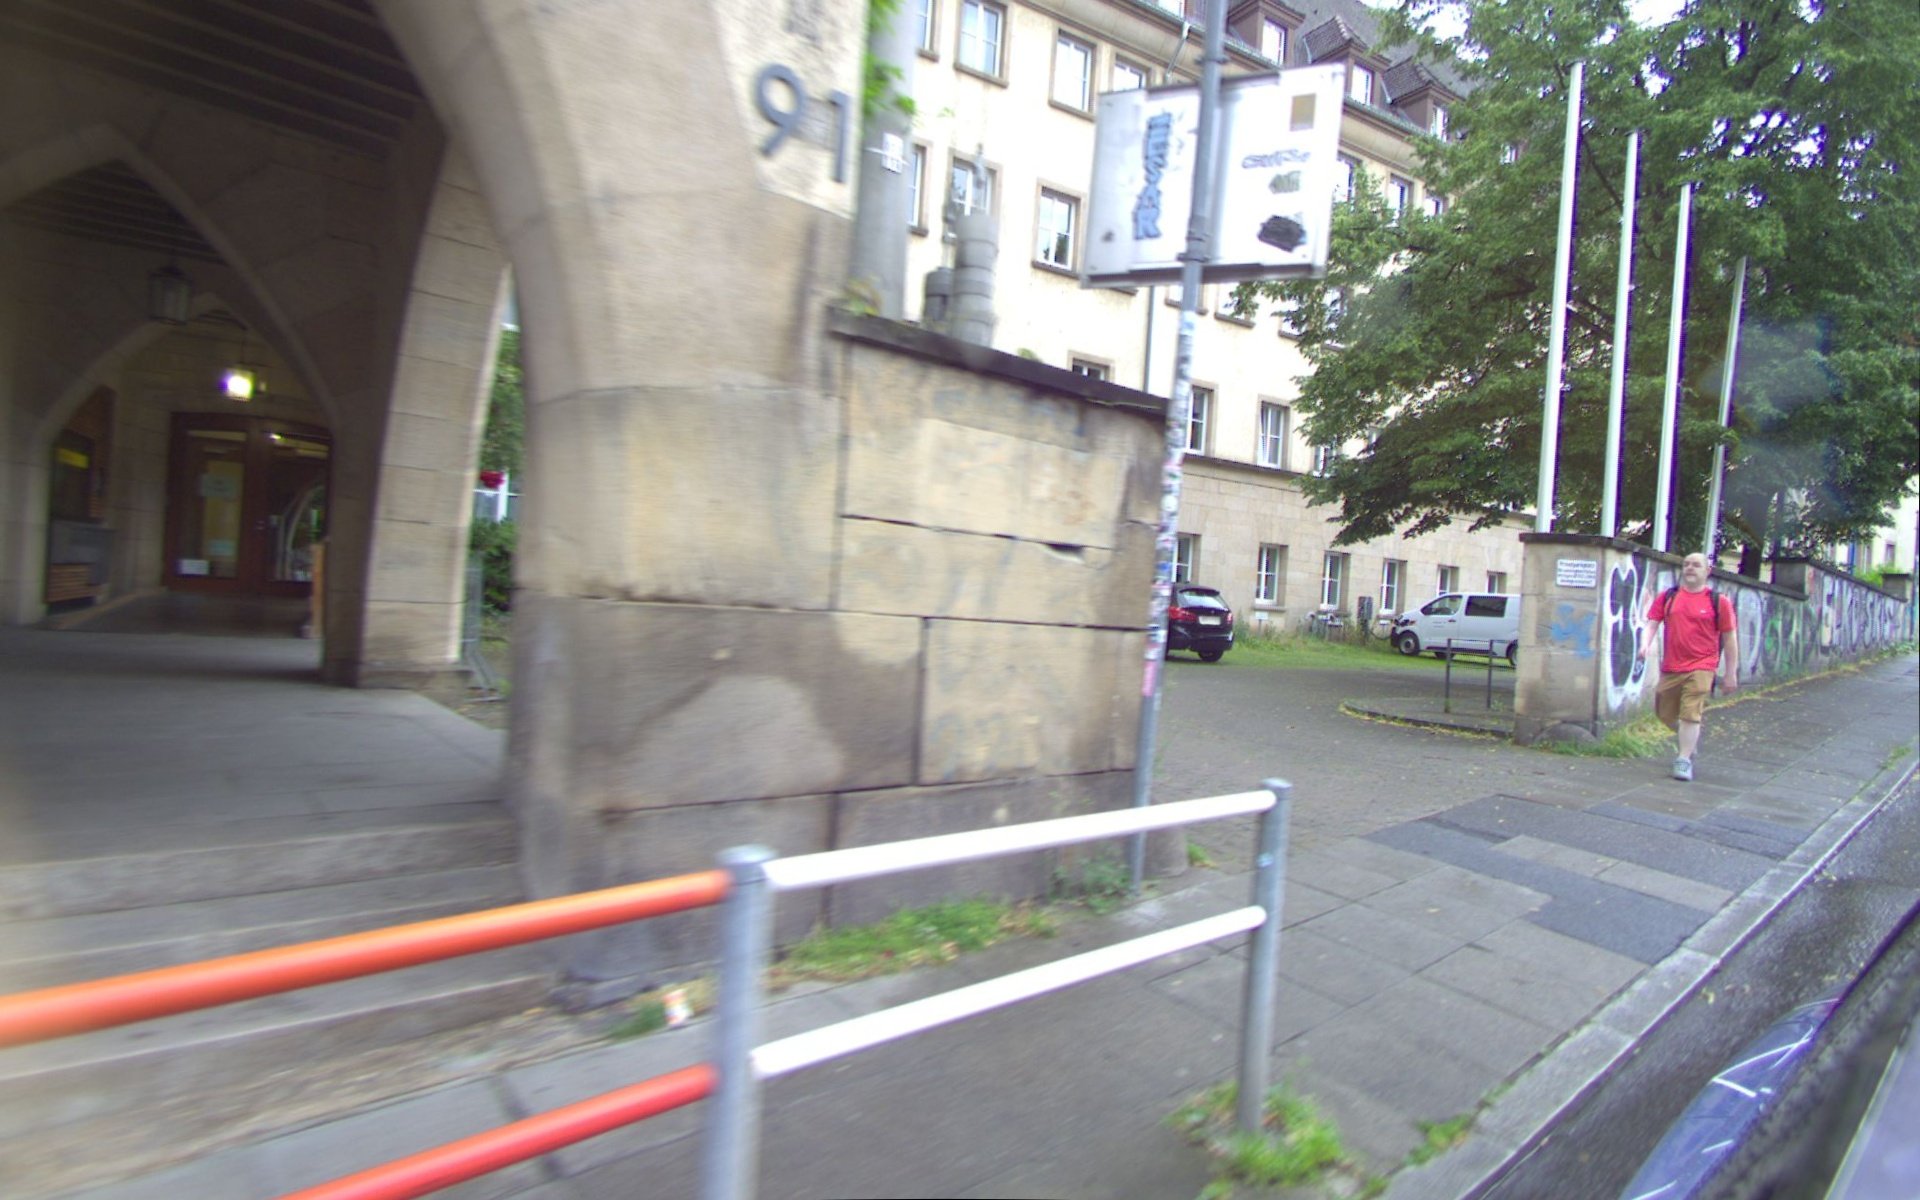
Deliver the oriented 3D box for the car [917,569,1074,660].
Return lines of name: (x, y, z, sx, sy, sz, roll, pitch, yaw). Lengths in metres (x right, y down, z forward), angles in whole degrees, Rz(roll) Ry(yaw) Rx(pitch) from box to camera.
car: (0.535, 0.218, 18.733, 1.578, 1.488, 3.924, 0, 0, -19)

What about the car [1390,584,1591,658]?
car: (14.058, 0.484, 27.126, 1.786, 1.801, 4.538, 0, 0, -29)

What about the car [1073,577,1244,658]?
car: (4.039, 0.316, 21.266, 1.784, 1.527, 3.930, 0, 0, -19)

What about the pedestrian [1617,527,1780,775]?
pedestrian: (5.762, 0.354, 7.904, 0.804, 1.785, 0.748, 1, 4, -41)
